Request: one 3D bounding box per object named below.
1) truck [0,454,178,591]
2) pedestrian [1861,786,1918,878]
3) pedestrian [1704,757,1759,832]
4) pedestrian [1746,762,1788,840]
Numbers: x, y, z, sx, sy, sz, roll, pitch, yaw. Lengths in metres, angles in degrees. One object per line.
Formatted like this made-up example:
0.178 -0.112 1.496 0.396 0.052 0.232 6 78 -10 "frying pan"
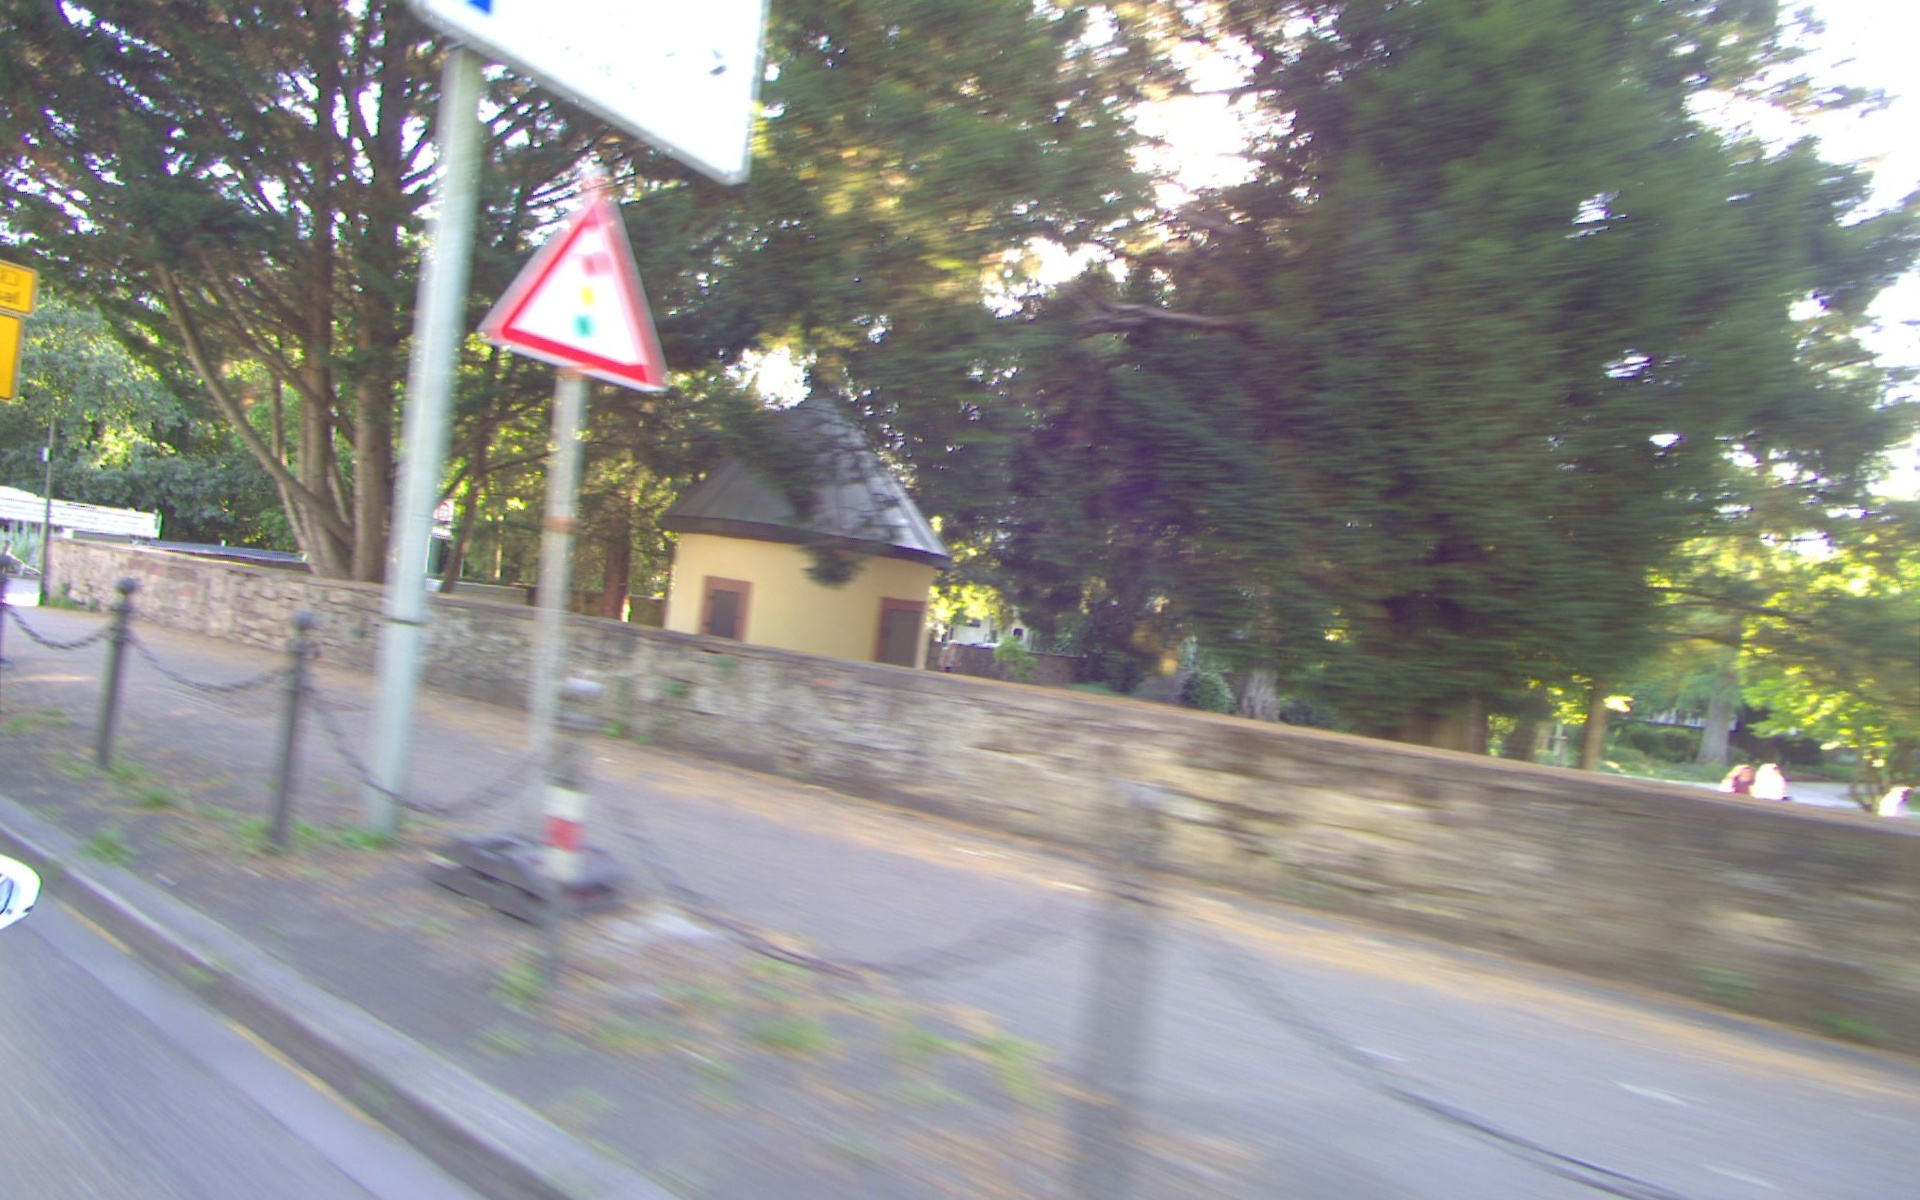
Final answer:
-24.573 -2.194 25.715 2.396 2.927 6.593 6 -3 37 "truck"
18.442 4.576 19.970 0.626 1.659 0.616 6 -2 34 "pedestrian"
18.685 4.701 24.381 0.746 1.636 0.567 7 -2 2 "pedestrian"
19.489 4.847 24.299 0.588 1.749 0.591 6 -2 32 "pedestrian"
